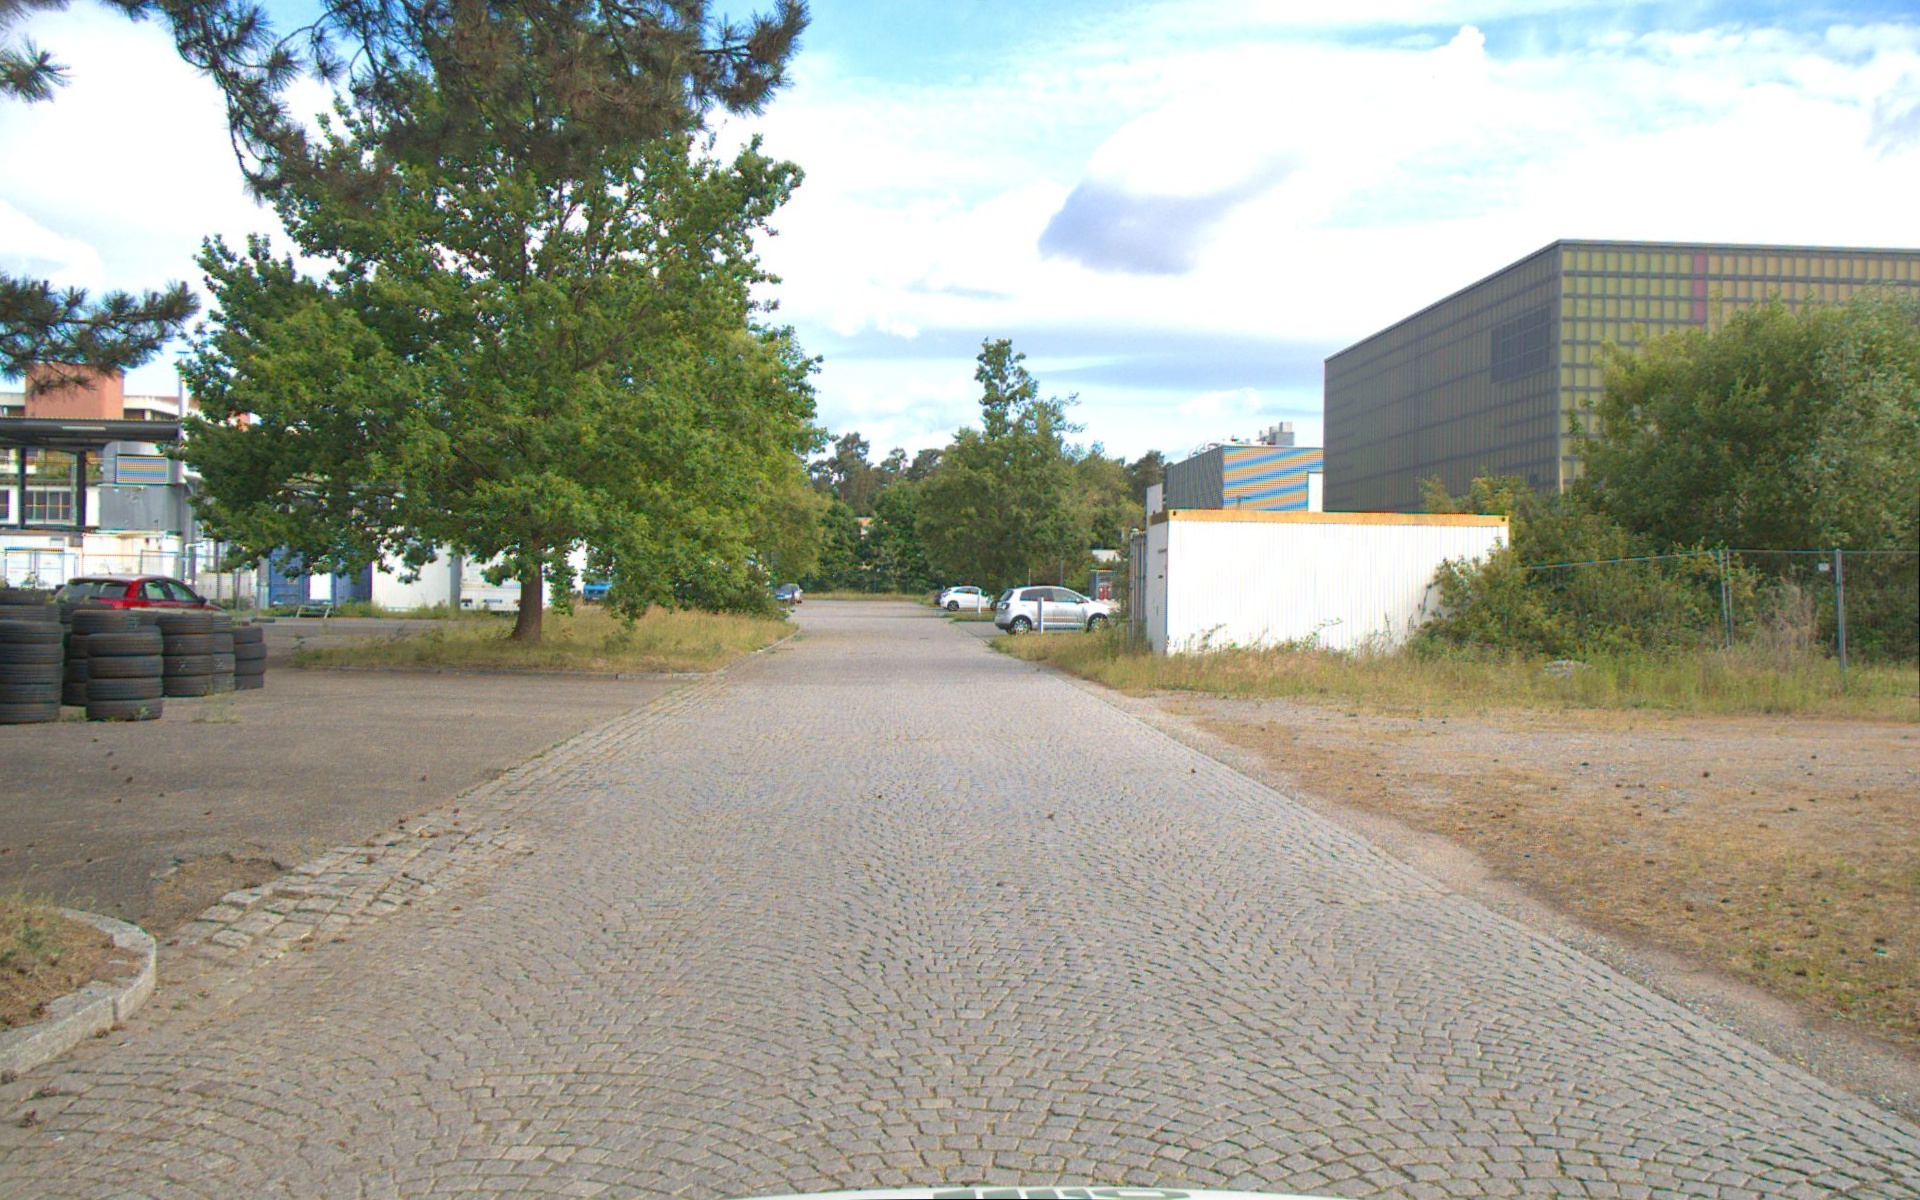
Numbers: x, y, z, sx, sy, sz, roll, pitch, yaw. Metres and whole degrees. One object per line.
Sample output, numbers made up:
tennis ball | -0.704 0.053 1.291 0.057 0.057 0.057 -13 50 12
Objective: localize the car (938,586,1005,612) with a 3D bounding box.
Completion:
car | 0.673 -0.073 100.067 3.944 1.528 1.547 1 0 -3

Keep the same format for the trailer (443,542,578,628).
trailer | -17.611 -0.587 65.441 3.094 3.121 8.782 1 0 -1

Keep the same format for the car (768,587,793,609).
car | -12.835 -0.166 118.330 1.701 1.495 4.041 1 0 -5

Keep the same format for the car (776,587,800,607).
car | -13.231 -0.236 127.674 1.769 1.561 3.996 1 0 -5

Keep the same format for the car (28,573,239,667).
car | -13.991 0.308 28.221 1.730 1.478 3.489 1 0 2

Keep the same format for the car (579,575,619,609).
car | -23.037 -0.497 105.683 1.888 2.083 4.595 1 0 -5

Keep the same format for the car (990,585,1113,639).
car | 2.967 0.385 53.999 3.775 1.683 1.684 1 0 -6

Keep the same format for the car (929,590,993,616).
car | 0.051 0.184 105.591 3.910 1.629 1.727 1 0 -6
